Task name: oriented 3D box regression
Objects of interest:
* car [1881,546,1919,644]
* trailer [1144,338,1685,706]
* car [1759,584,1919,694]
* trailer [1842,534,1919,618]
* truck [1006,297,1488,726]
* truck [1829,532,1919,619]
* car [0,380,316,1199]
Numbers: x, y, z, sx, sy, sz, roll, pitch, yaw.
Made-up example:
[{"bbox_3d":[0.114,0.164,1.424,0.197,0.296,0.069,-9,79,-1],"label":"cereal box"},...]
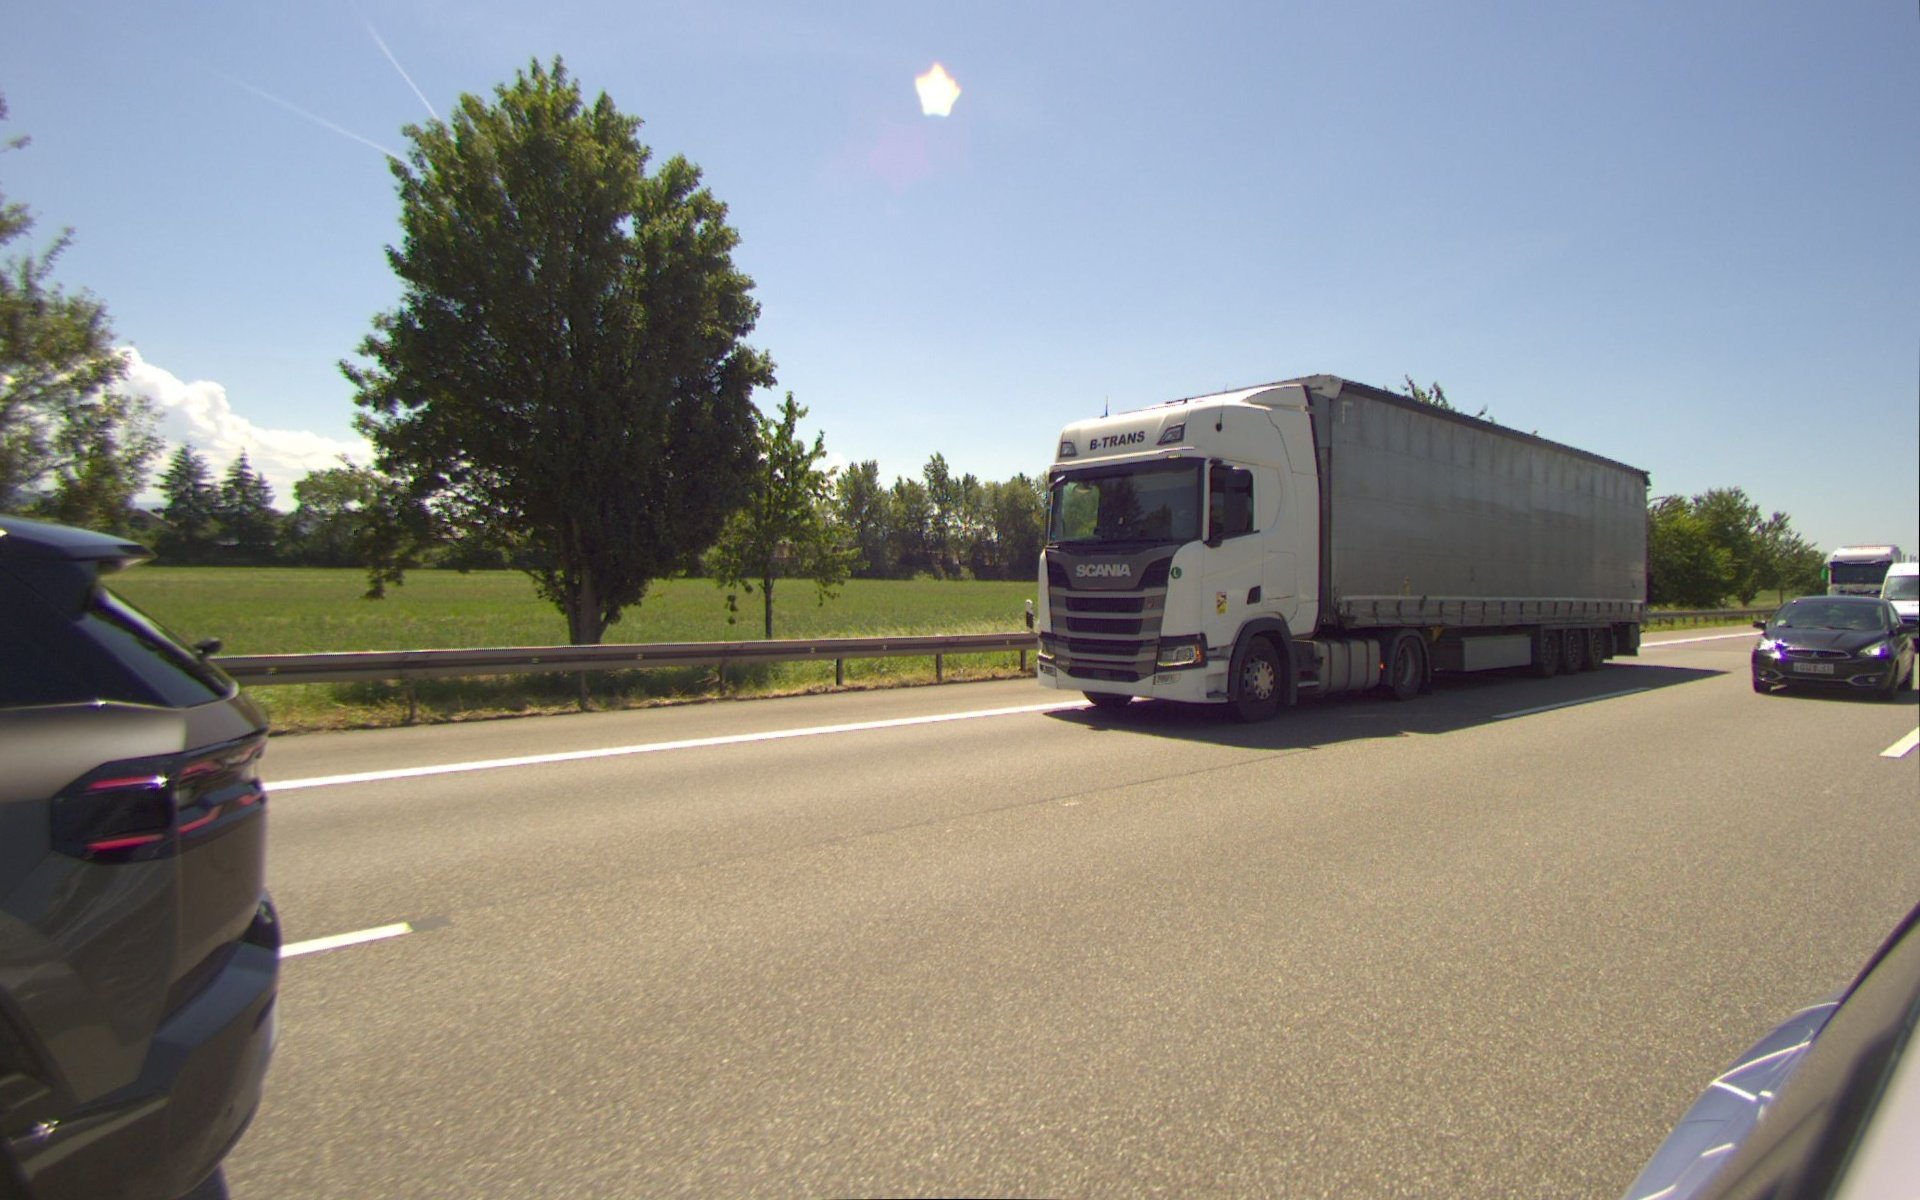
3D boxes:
[{"bbox_3d":[27.406,-0.157,28.064,5.843,2.540,2.157,-1,1,-42],"label":"car"},{"bbox_3d":[8.824,-1.010,17.600,14.002,4.358,2.815,-1,1,-40],"label":"trailer"},{"bbox_3d":[13.721,0.513,15.583,3.374,1.492,1.690,0,1,-42],"label":"car"},{"bbox_3d":[50.164,-1.195,53.638,13.707,4.016,2.699,0,0,-38],"label":"trailer"},{"bbox_3d":[4.159,-0.948,13.674,7.066,4.358,2.815,-1,0,-40],"label":"truck"},{"bbox_3d":[45.768,-1.167,50.147,7.563,4.016,2.699,0,0,-38],"label":"truck"},{"bbox_3d":[-3.512,0.527,0.996,4.663,1.696,1.870,-1,1,-41],"label":"car"}]
